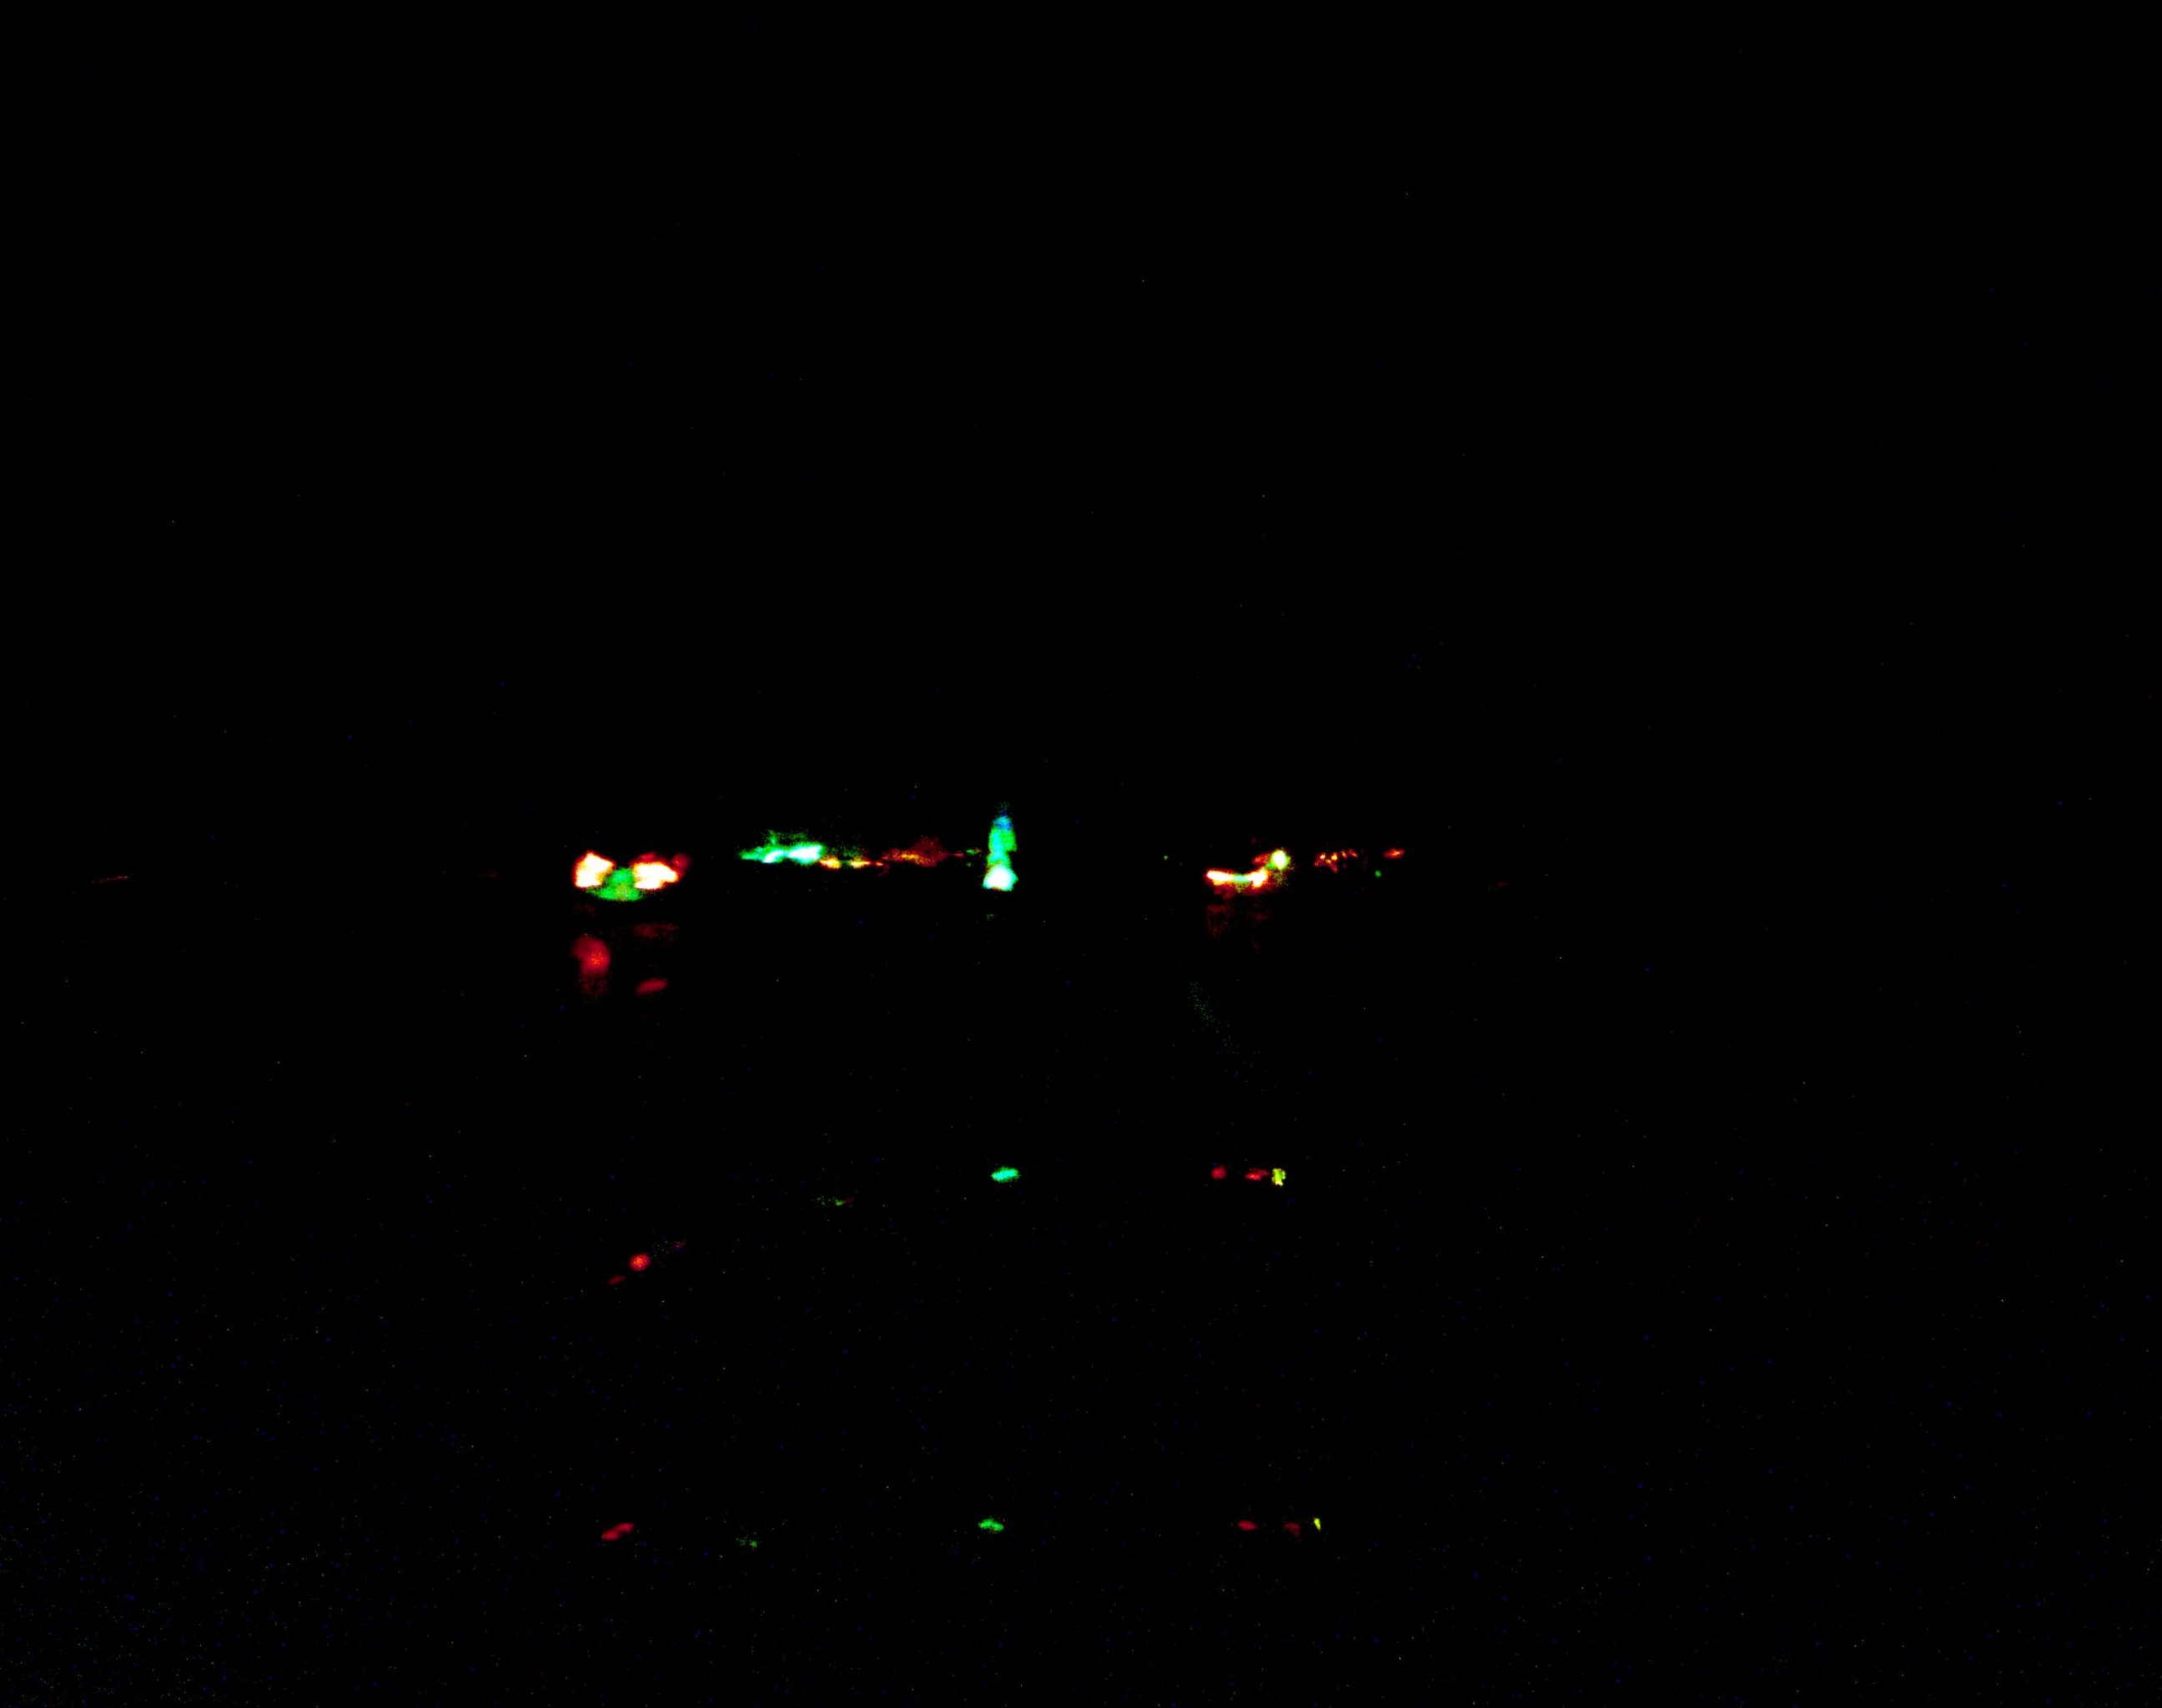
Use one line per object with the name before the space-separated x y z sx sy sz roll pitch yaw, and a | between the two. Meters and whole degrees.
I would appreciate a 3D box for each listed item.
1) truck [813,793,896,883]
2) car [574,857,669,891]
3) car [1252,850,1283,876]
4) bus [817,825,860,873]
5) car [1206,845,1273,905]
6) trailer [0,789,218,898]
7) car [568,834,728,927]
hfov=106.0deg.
truck | -15.771 -0.987 57.836 4.208 5.648 11.433 1 0 -8
car | -21.276 0.883 38.008 1.991 1.476 5.153 1 0 -7
car | 13.332 0.647 58.046 1.979 1.807 4.016 1 0 15
bus | -24.444 -0.486 82.653 3.098 4.508 10.870 1 0 -11
car | 5.170 0.660 26.892 1.982 1.807 4.010 1 0 9
trailer | -36.551 -0.342 29.227 2.624 3.509 8.863 1 0 -8
car | -10.460 0.595 20.124 2.126 2.014 4.629 1 0 -10
